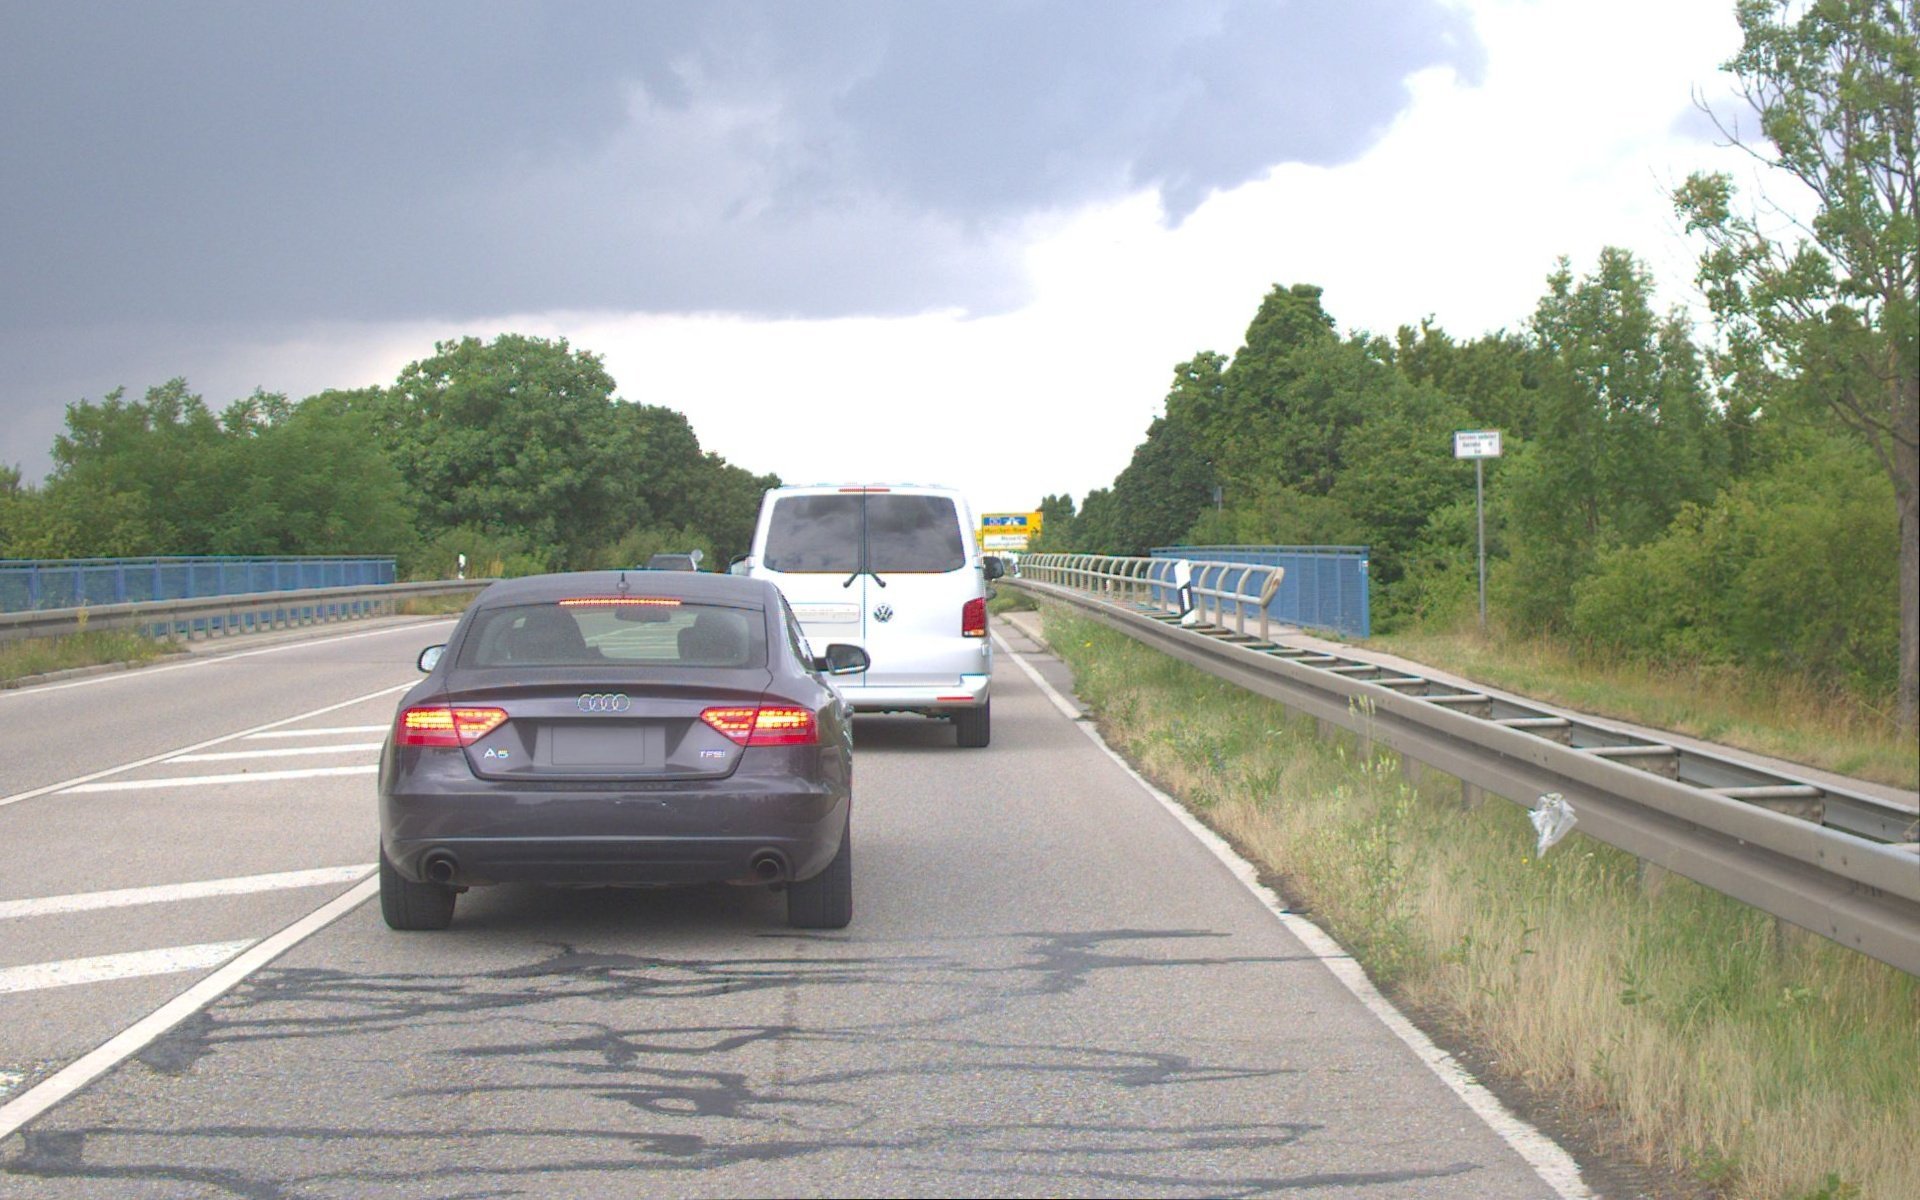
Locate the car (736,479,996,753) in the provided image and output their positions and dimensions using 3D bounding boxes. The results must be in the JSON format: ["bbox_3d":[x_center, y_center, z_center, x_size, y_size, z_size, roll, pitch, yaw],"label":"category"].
[{"bbox_3d":[-0.697,0.087,26.515,1.828,1.929,4.000,-1,1,-1],"label":"car"}]

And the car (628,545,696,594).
[{"bbox_3d":[-9.065,-0.948,104.854,1.799,1.445,4.446,-1,1,-2],"label":"car"}]

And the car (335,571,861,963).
[{"bbox_3d":[-1.362,0.586,14.443,1.821,1.376,4.072,-1,1,-1],"label":"car"}]
